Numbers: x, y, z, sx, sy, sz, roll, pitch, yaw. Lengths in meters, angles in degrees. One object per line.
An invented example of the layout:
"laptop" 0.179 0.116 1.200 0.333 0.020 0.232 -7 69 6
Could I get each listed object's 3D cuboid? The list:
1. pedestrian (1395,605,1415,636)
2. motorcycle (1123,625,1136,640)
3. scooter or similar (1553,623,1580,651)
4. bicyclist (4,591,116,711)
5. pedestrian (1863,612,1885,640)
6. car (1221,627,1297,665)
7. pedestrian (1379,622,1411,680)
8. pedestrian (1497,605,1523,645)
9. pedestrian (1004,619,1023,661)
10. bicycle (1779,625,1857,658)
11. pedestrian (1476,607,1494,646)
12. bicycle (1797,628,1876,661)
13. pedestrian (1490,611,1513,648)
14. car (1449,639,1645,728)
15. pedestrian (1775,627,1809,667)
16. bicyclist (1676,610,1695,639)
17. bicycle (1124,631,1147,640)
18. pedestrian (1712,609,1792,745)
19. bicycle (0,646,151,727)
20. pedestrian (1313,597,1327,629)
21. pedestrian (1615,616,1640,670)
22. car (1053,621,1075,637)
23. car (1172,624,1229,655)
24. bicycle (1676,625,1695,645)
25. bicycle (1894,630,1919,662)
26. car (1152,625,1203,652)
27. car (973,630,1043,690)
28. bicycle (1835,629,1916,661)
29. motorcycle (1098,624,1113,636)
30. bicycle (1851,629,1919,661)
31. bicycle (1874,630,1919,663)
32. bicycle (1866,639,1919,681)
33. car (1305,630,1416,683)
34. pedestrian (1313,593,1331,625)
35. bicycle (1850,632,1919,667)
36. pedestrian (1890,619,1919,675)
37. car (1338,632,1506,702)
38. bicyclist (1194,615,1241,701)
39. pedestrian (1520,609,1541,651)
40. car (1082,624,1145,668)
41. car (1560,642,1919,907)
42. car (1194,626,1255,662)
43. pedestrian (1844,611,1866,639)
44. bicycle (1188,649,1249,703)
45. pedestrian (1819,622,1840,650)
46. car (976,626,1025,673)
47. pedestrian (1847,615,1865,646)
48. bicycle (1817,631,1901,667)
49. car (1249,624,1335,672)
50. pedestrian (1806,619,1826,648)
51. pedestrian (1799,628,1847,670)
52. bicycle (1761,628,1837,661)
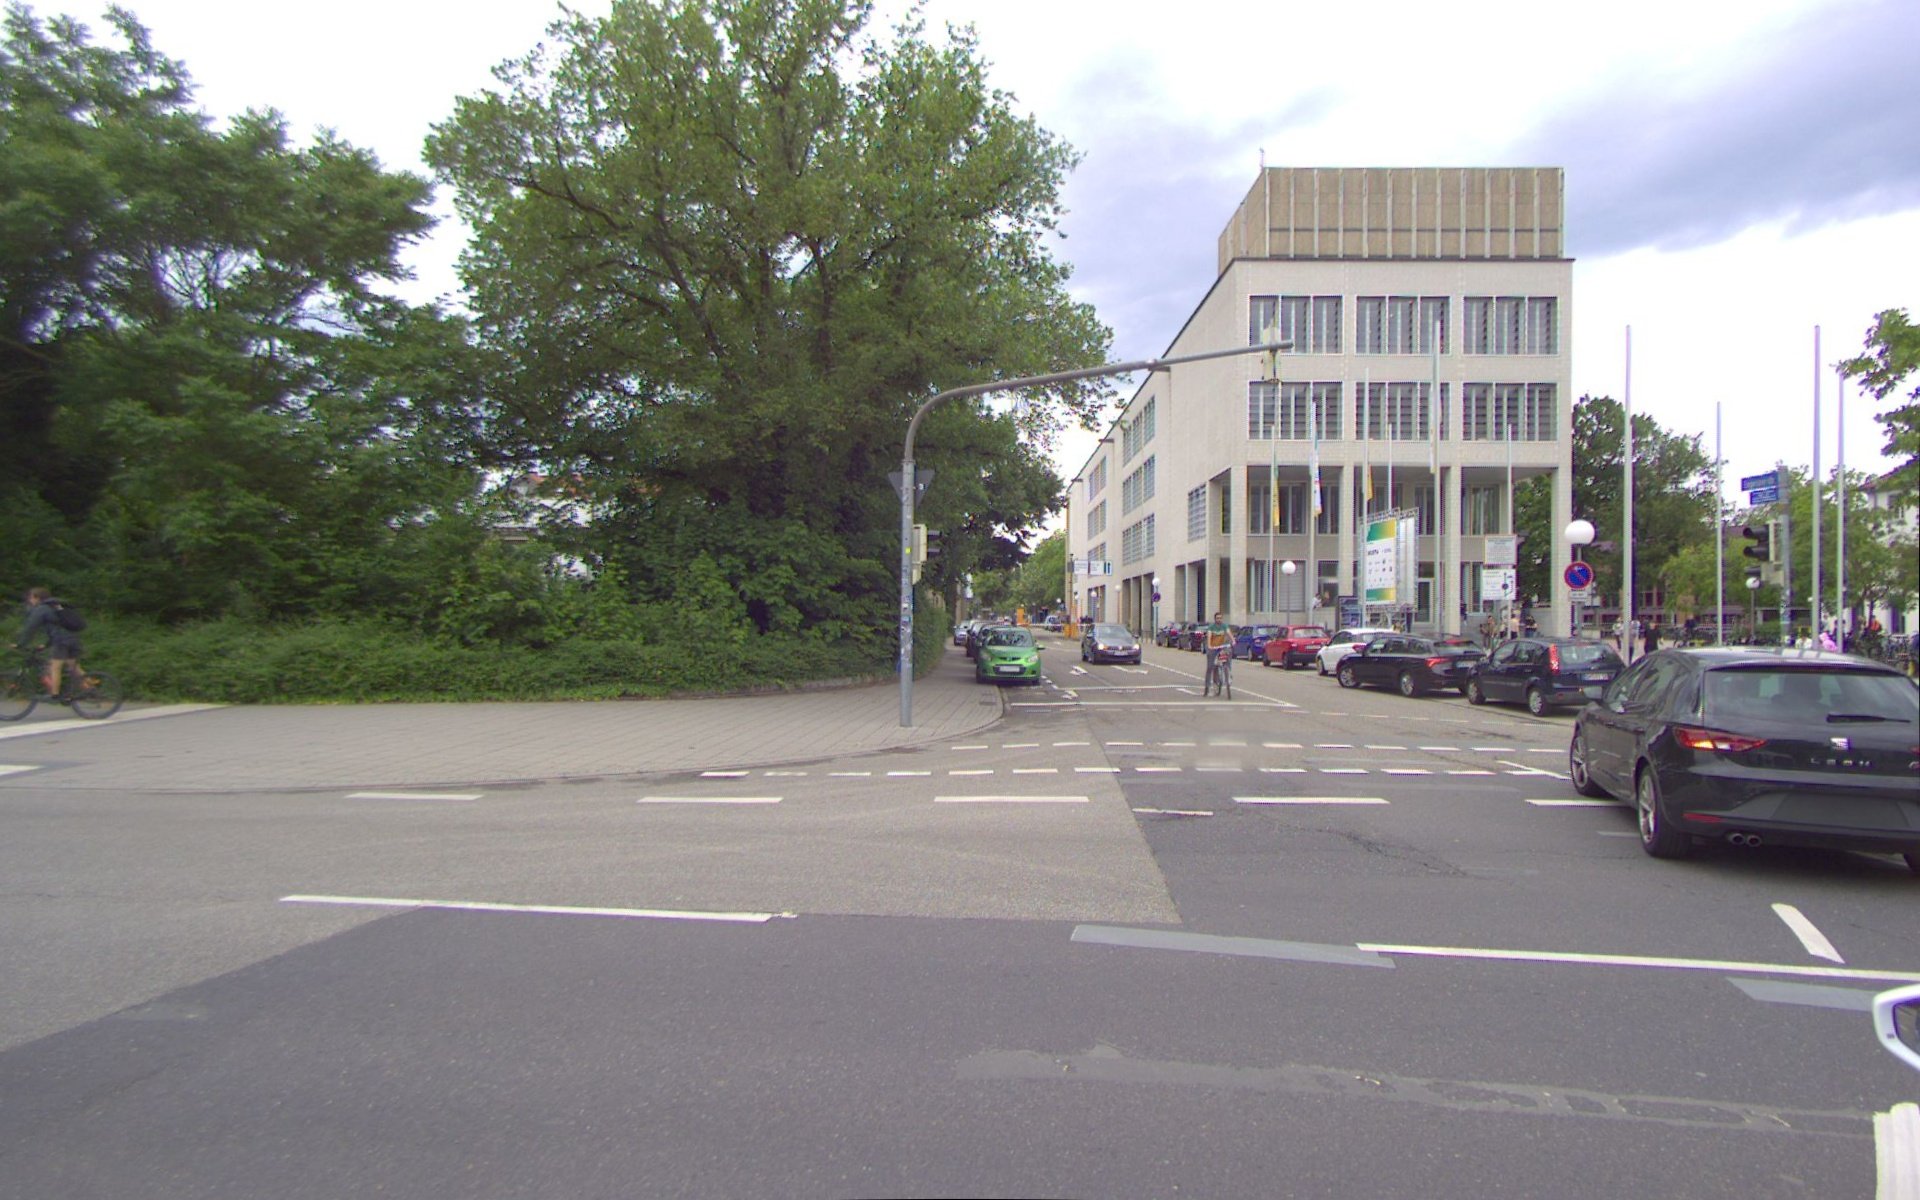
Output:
"pedestrian" 22.527 1.022 50.830 0.701 1.547 0.631 1 1 2
"motorcycle" 14.582 2.791 86.458 0.557 1.164 2.215 2 1 25
"scooter or similar" 30.094 1.835 49.845 1.472 1.388 0.402 0 2 -27
"bicyclist" -12.721 0.702 14.227 0.907 1.630 0.765 0 1 -13
"pedestrian" 53.361 1.521 58.640 0.649 1.662 0.666 0 -1 -1
"car" 12.285 1.858 41.477 1.667 1.430 4.376 -1 -1 -2
"pedestrian" 14.002 1.629 32.337 0.777 1.811 0.822 0 -1 13
"pedestrian" 25.127 1.140 45.900 0.751 1.808 0.735 0 -1 -13
"pedestrian" 2.181 1.619 41.132 0.726 1.684 0.968 -1 0 2
"bicycle" 36.477 1.734 42.771 0.733 1.186 3.108 1 1 3
"pedestrian" 25.324 1.296 48.464 0.581 1.865 0.620 0 -1 2
"bicycle" 37.246 1.864 42.768 0.733 1.186 3.108 1 1 3
"pedestrian" 25.484 1.402 47.251 0.763 1.738 0.604 0 -1 2
"car" 11.663 1.596 20.316 1.595 1.521 4.107 -2 -2 2
"pedestrian" 30.137 1.680 36.399 0.665 1.432 0.763 1 -1 -30
"bicyclist" 41.431 1.397 57.391 0.862 1.663 0.865 0 0 36
"bicycle" 14.547 2.918 83.279 1.866 0.708 0.492 1 1 -3
"pedestrian" 11.929 1.126 15.150 0.778 1.978 0.757 0 -1 25
"bicycle" -12.759 1.203 14.236 1.832 1.051 0.781 0 1 -13
"pedestrian" 19.493 0.694 54.434 0.619 1.681 0.807 2 2 17
"pedestrian" 23.642 1.508 35.594 0.632 1.832 0.646 2 2 31
"car" 11.524 3.245 111.967 1.960 1.644 4.429 -1 -2 0
"car" 12.287 1.989 51.549 1.788 1.462 4.521 -2 -1 0
"bicycle" 41.437 1.986 57.392 0.862 1.108 1.795 0 -1 36
"bicycle" 38.203 1.858 39.158 0.733 1.186 3.108 1 1 3
"car" 12.359 2.187 57.384 1.960 1.471 4.924 0 -1 1
"car" 1.308 1.585 27.635 1.767 1.489 4.250 0 -1 3
"bicycle" 39.076 1.897 42.947 0.733 1.186 3.108 1 1 3
"motorcycle" 14.893 3.080 103.046 0.747 1.164 2.660 2 1 25
"bicycle" 39.876 1.912 43.042 0.733 1.186 3.108 1 1 3
"bicycle" 37.437 1.841 39.212 0.733 1.186 3.108 1 1 3
"bicycle" 29.356 1.862 30.991 0.448 1.186 2.412 1 1 -3
"car" 11.943 1.649 30.217 1.829 1.472 3.859 0 -1 1
"pedestrian" 19.286 0.458 53.525 0.792 1.681 0.630 2 2 26
"bicycle" 36.536 1.922 39.304 0.733 1.186 3.108 1 1 3
"pedestrian" 30.117 1.477 31.592 0.835 1.726 0.969 0 -1 0
"car" 11.298 1.592 24.955 1.831 1.420 4.476 -2 0 -4
"bicyclist" 5.505 1.221 21.532 0.647 1.803 0.983 0 -1 -6
"pedestrian" 26.101 1.384 45.958 0.773 1.889 0.596 0 -2 -41
"car" 5.628 1.646 37.202 1.753 1.517 4.169 0 -1 1
"car" 6.029 1.101 7.899 1.754 1.438 4.127 0 -1 24
"car" 12.230 2.001 46.657 1.817 1.461 4.419 0 0 2
"pedestrian" 53.283 1.495 59.790 0.649 1.662 0.694 0 -1 -1
"bicycle" 5.504 1.604 21.521 0.647 1.051 1.856 0 -1 -6
"pedestrian" 52.083 2.128 60.194 0.649 1.662 0.666 0 -1 -2
"car" 1.485 1.834 38.314 1.768 1.581 4.531 0 -1 1
"pedestrian" 48.146 1.649 53.979 0.653 1.662 0.662 -2 -2 43
"bicycle" 35.102 1.893 39.288 0.609 1.186 3.108 1 1 3
"car" 11.745 1.669 35.820 1.684 1.493 4.274 -2 -1 1
"pedestrian" 50.915 1.989 59.755 0.649 1.662 0.666 0 -1 -1
"pedestrian" 30.422 1.711 35.418 0.837 1.439 0.967 0 -1 -10
"bicycle" 35.701 1.865 42.809 0.733 1.186 3.108 1 1 3
